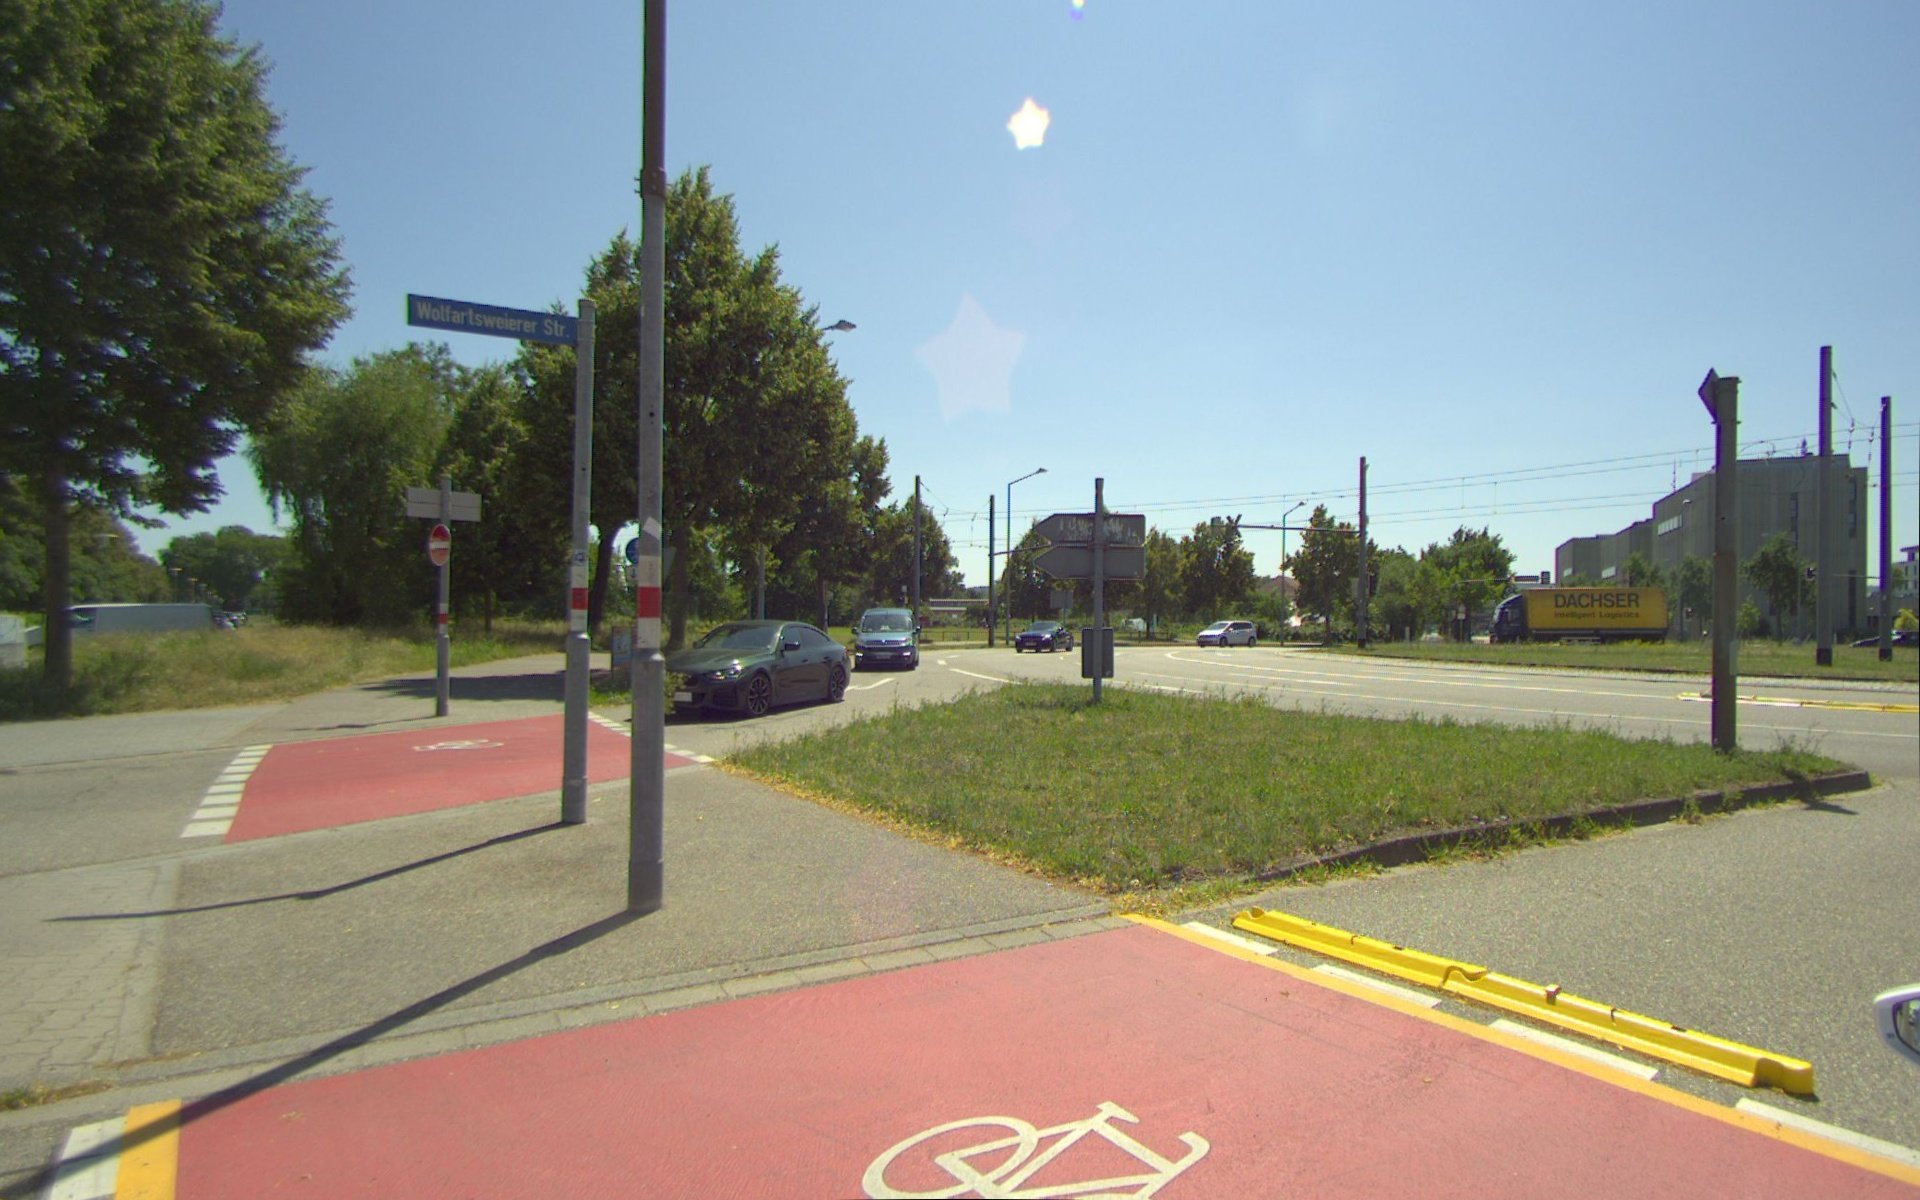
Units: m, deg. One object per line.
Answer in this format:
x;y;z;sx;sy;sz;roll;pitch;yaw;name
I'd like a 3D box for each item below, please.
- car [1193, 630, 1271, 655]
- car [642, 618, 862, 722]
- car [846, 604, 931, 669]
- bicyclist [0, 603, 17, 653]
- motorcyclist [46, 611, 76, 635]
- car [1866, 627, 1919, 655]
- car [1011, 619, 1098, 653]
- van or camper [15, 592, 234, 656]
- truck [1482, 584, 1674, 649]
17.056;2.664;62.965;4.964;1.473;1.812;1;-1;-31;car
-3.195;1.033;16.497;1.688;1.430;4.621;0;-1;14;car
-2.076;1.089;30.354;1.655;1.793;4.208;-1;-2;8;car
-32.384;0.916;33.754;0.706;1.659;0.967;3;-2;-28;bicyclist
-60.339;1.550;67.432;1.242;1.630;1.427;1;-1;-34;motorcyclist
50.861;2.182;53.183;3.975;1.480;1.727;0;-1;29;car
4.435;1.638;46.318;1.827;1.455;4.940;0;-1;35;car
-26.567;0.782;32.238;5.222;1.882;1.980;2;-1;-36;van or camper
36.861;0.972;60.361;9.424;3.707;2.708;0;-1;18;truck
